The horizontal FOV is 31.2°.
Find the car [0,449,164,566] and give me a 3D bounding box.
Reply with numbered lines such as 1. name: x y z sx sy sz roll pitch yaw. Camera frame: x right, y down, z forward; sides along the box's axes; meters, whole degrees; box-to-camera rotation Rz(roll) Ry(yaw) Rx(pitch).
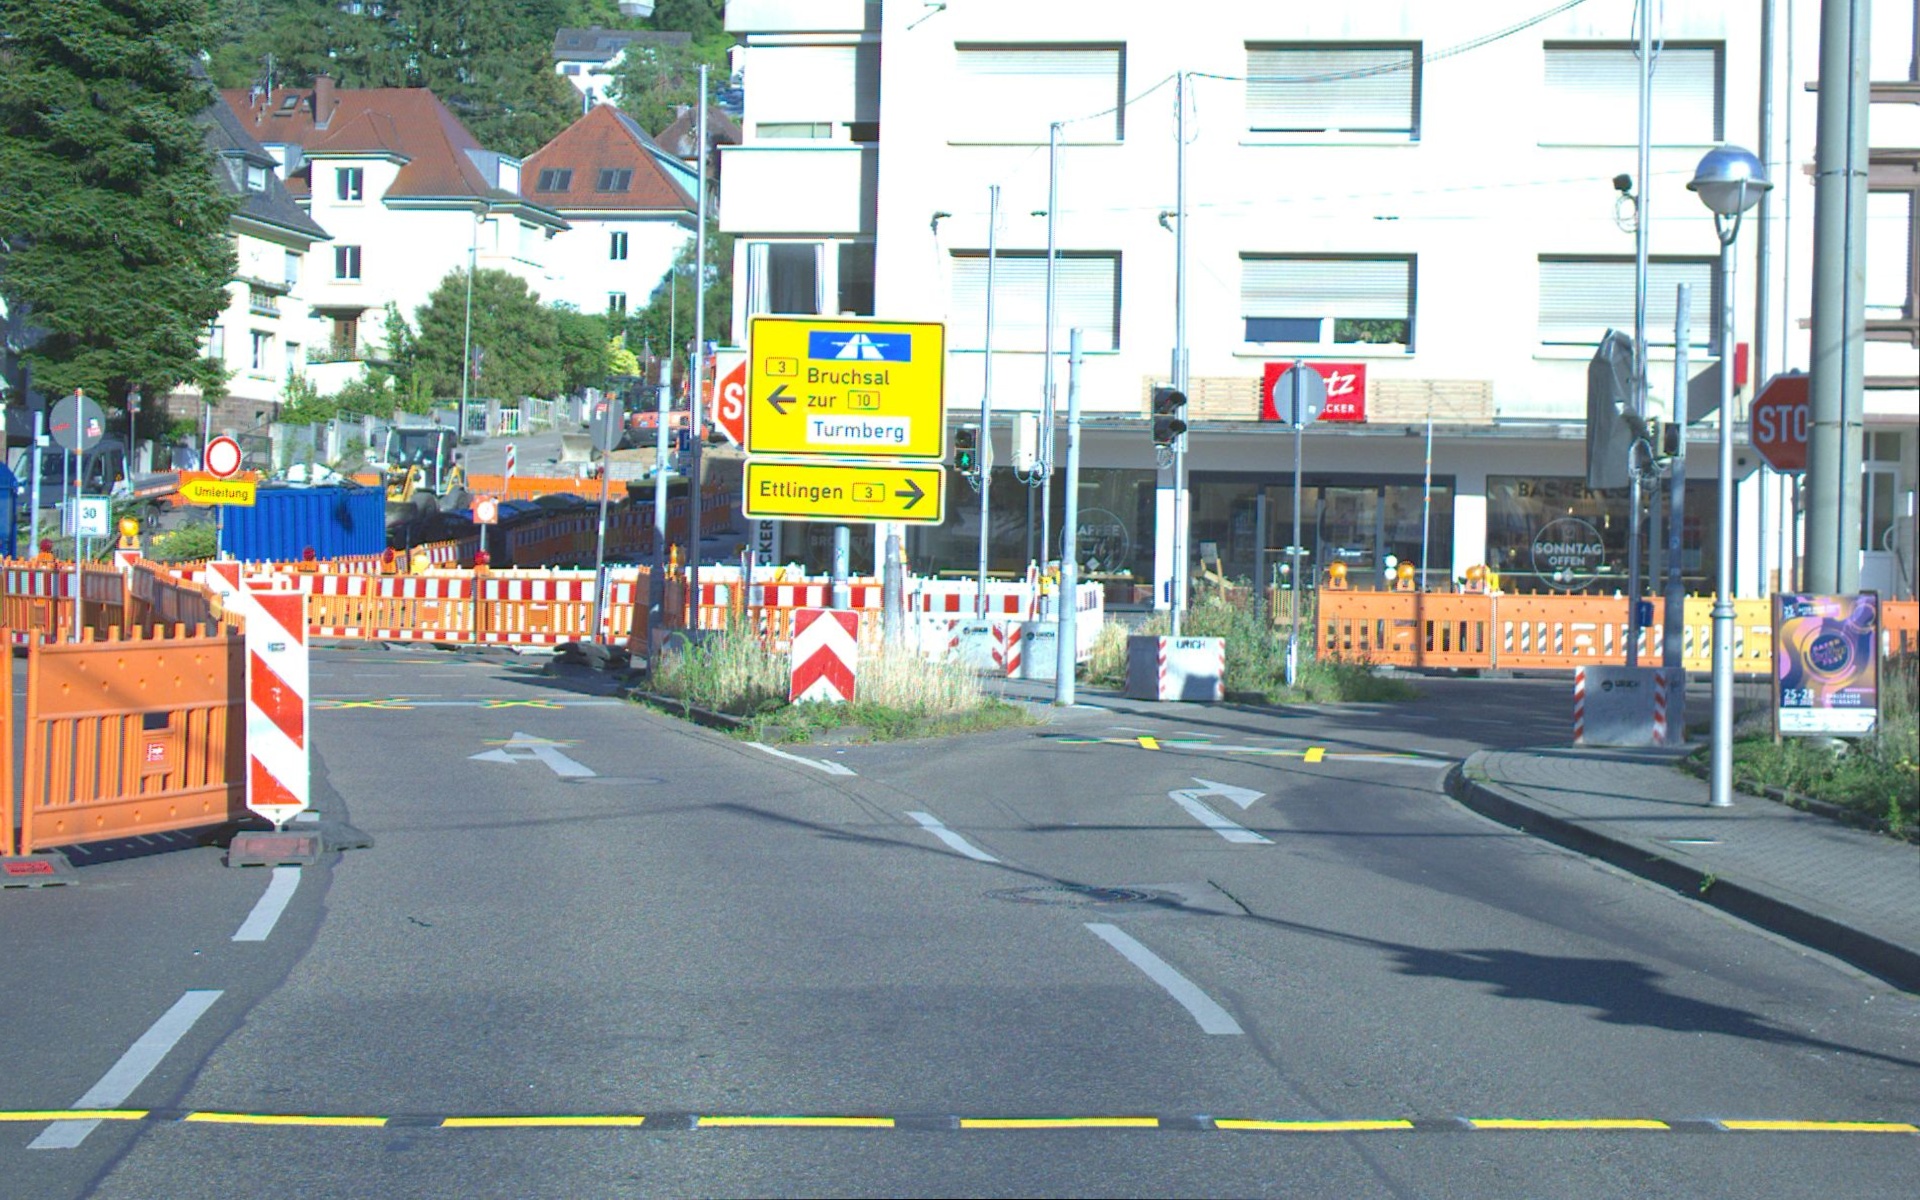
1. car: -18.071 -1.748 66.175 2.585 2.113 6.145 1 1 18

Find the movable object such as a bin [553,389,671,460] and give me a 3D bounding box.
1. movable object such as a bin: -11.584 -5.829 114.860 2.566 2.114 5.782 1 1 8

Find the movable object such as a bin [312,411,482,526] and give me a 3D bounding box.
1. movable object such as a bin: -12.885 -2.981 78.966 1.950 2.486 4.547 1 1 18
